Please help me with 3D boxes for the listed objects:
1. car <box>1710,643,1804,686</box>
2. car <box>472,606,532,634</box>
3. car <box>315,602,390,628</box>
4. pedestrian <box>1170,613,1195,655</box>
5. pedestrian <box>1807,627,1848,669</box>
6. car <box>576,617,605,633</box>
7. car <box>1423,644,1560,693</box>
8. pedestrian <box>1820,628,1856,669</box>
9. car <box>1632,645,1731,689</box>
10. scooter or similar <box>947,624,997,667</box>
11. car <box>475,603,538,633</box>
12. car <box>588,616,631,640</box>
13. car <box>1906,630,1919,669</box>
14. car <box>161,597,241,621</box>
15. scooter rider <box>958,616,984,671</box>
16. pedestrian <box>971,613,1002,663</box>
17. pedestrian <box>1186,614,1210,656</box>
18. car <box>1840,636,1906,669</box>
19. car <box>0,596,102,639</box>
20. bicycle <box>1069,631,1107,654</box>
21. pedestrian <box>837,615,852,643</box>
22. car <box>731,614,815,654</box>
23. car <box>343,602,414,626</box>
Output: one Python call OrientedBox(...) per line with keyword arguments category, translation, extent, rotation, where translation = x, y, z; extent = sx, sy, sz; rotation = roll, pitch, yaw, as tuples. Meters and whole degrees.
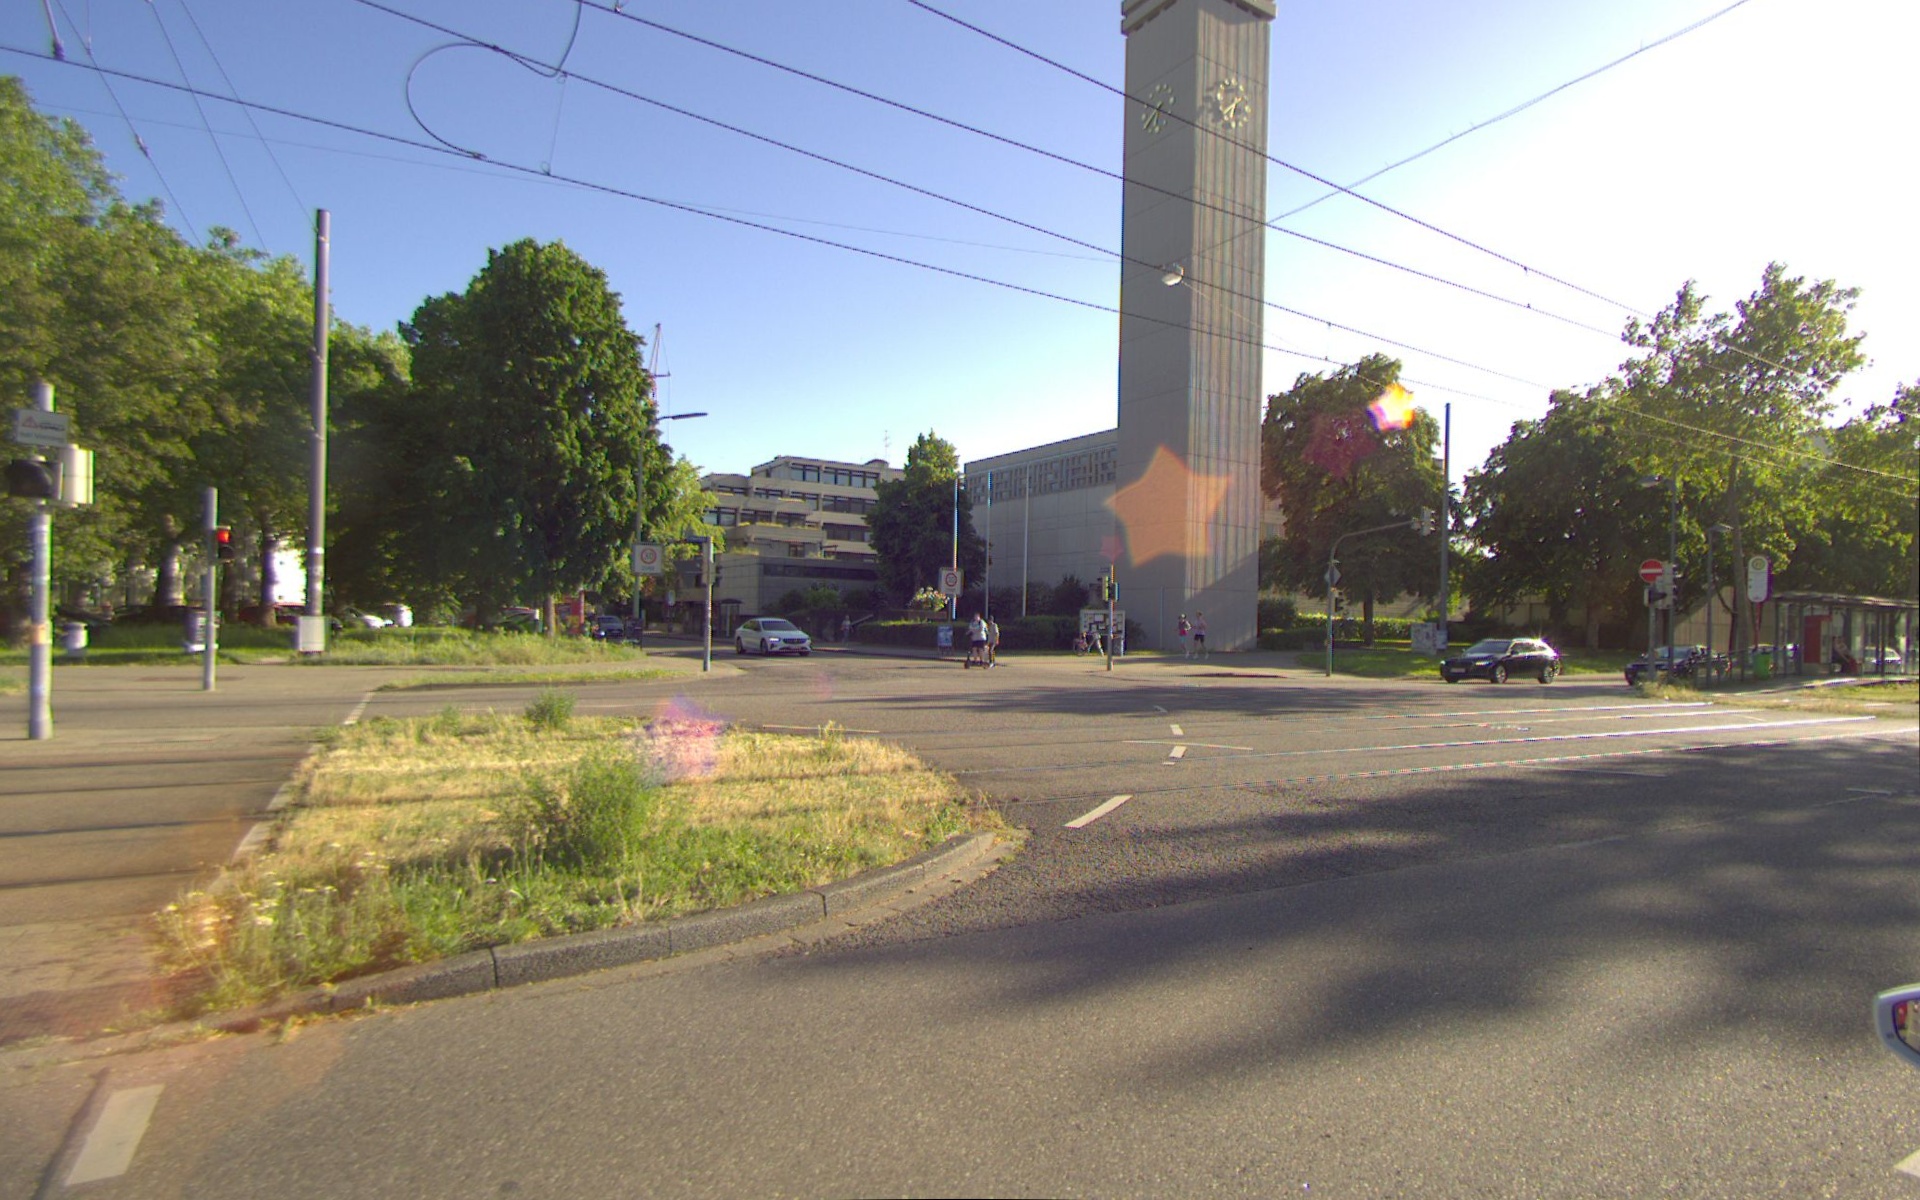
OrientedBox(category="car", translation=(28.978, 2.330, 36.508), extent=(3.497, 1.446, 1.597), rotation=(2, -1, -32))
OrientedBox(category="car", translation=(-34.942, 1.515, 76.655), extent=(3.954, 2.040, 1.984), rotation=(2, 0, -31))
OrientedBox(category="car", translation=(-40.268, 1.000, 66.662), extent=(3.873, 1.572, 1.992), rotation=(2, -1, -18))
OrientedBox(category="pedestrian", translation=(9.343, 1.432, 42.194), extent=(0.872, 1.746, 0.590), rotation=(2, -1, -35))
OrientedBox(category="pedestrian", translation=(28.861, 1.605, 33.427), extent=(0.761, 1.359, 0.732), rotation=(1, -1, -16))
OrientedBox(category="car", translation=(-35.948, 2.439, 97.729), extent=(1.976, 1.481, 4.494), rotation=(2, -1, -29))
OrientedBox(category="car", translation=(17.703, 2.236, 33.431), extent=(4.475, 1.461, 1.941), rotation=(2, -1, -30))
OrientedBox(category="pedestrian", translation=(29.594, 1.629, 33.854), extent=(0.725, 1.359, 0.691), rotation=(2, -1, -28))
OrientedBox(category="car", translation=(21.677, 2.000, 30.161), extent=(2.930, 1.220, 1.319), rotation=(2, -1, -30))
OrientedBox(category="scooter or similar", translation=(0.378, 1.430, 31.747), extent=(1.525, 1.327, 0.592), rotation=(2, -1, -35))
OrientedBox(category="car", translation=(-32.751, 1.327, 72.590), extent=(3.954, 2.040, 1.984), rotation=(2, 0, -31))
OrientedBox(category="car", translation=(-23.325, 1.823, 66.759), extent=(1.976, 1.481, 4.494), rotation=(2, -1, -29))
OrientedBox(category="car", translation=(58.990, 2.989, 60.651), extent=(3.887, 2.292, 1.705), rotation=(2, -1, -31))
OrientedBox(category="car", translation=(-51.686, 0.618, 68.503), extent=(3.873, 1.572, 1.992), rotation=(2, -1, -18))
OrientedBox(category="scooter rider", translation=(0.359, 1.356, 31.727), extent=(0.568, 1.718, 0.590), rotation=(2, -1, -35))
OrientedBox(category="pedestrian", translation=(0.915, 1.302, 34.602), extent=(0.872, 1.718, 0.590), rotation=(2, -1, -35))
OrientedBox(category="pedestrian", translation=(9.865, 1.444, 41.612), extent=(0.740, 1.704, 0.590), rotation=(2, -1, -35))
OrientedBox(category="car", translation=(49.346, 2.818, 54.286), extent=(3.884, 1.657, 1.586), rotation=(2, -1, -30))
OrientedBox(category="car", translation=(-35.522, 0.645, 38.215), extent=(3.873, 1.572, 1.992), rotation=(2, -1, -18))
OrientedBox(category="bicycle", translation=(5.429, 1.786, 42.530), extent=(1.681, 0.940, 0.443), rotation=(2, -1, -33))
OrientedBox(category="pedestrian", translation=(-6.302, 1.562, 54.734), extent=(0.540, 1.486, 0.863), rotation=(2, -1, -27))
OrientedBox(category="car", translation=(-7.544, 1.333, 40.269), extent=(1.976, 1.506, 4.494), rotation=(2, -1, -29))
OrientedBox(category="car", translation=(-41.251, 1.009, 71.364), extent=(3.865, 1.572, 1.996), rotation=(1, -1, -12))
